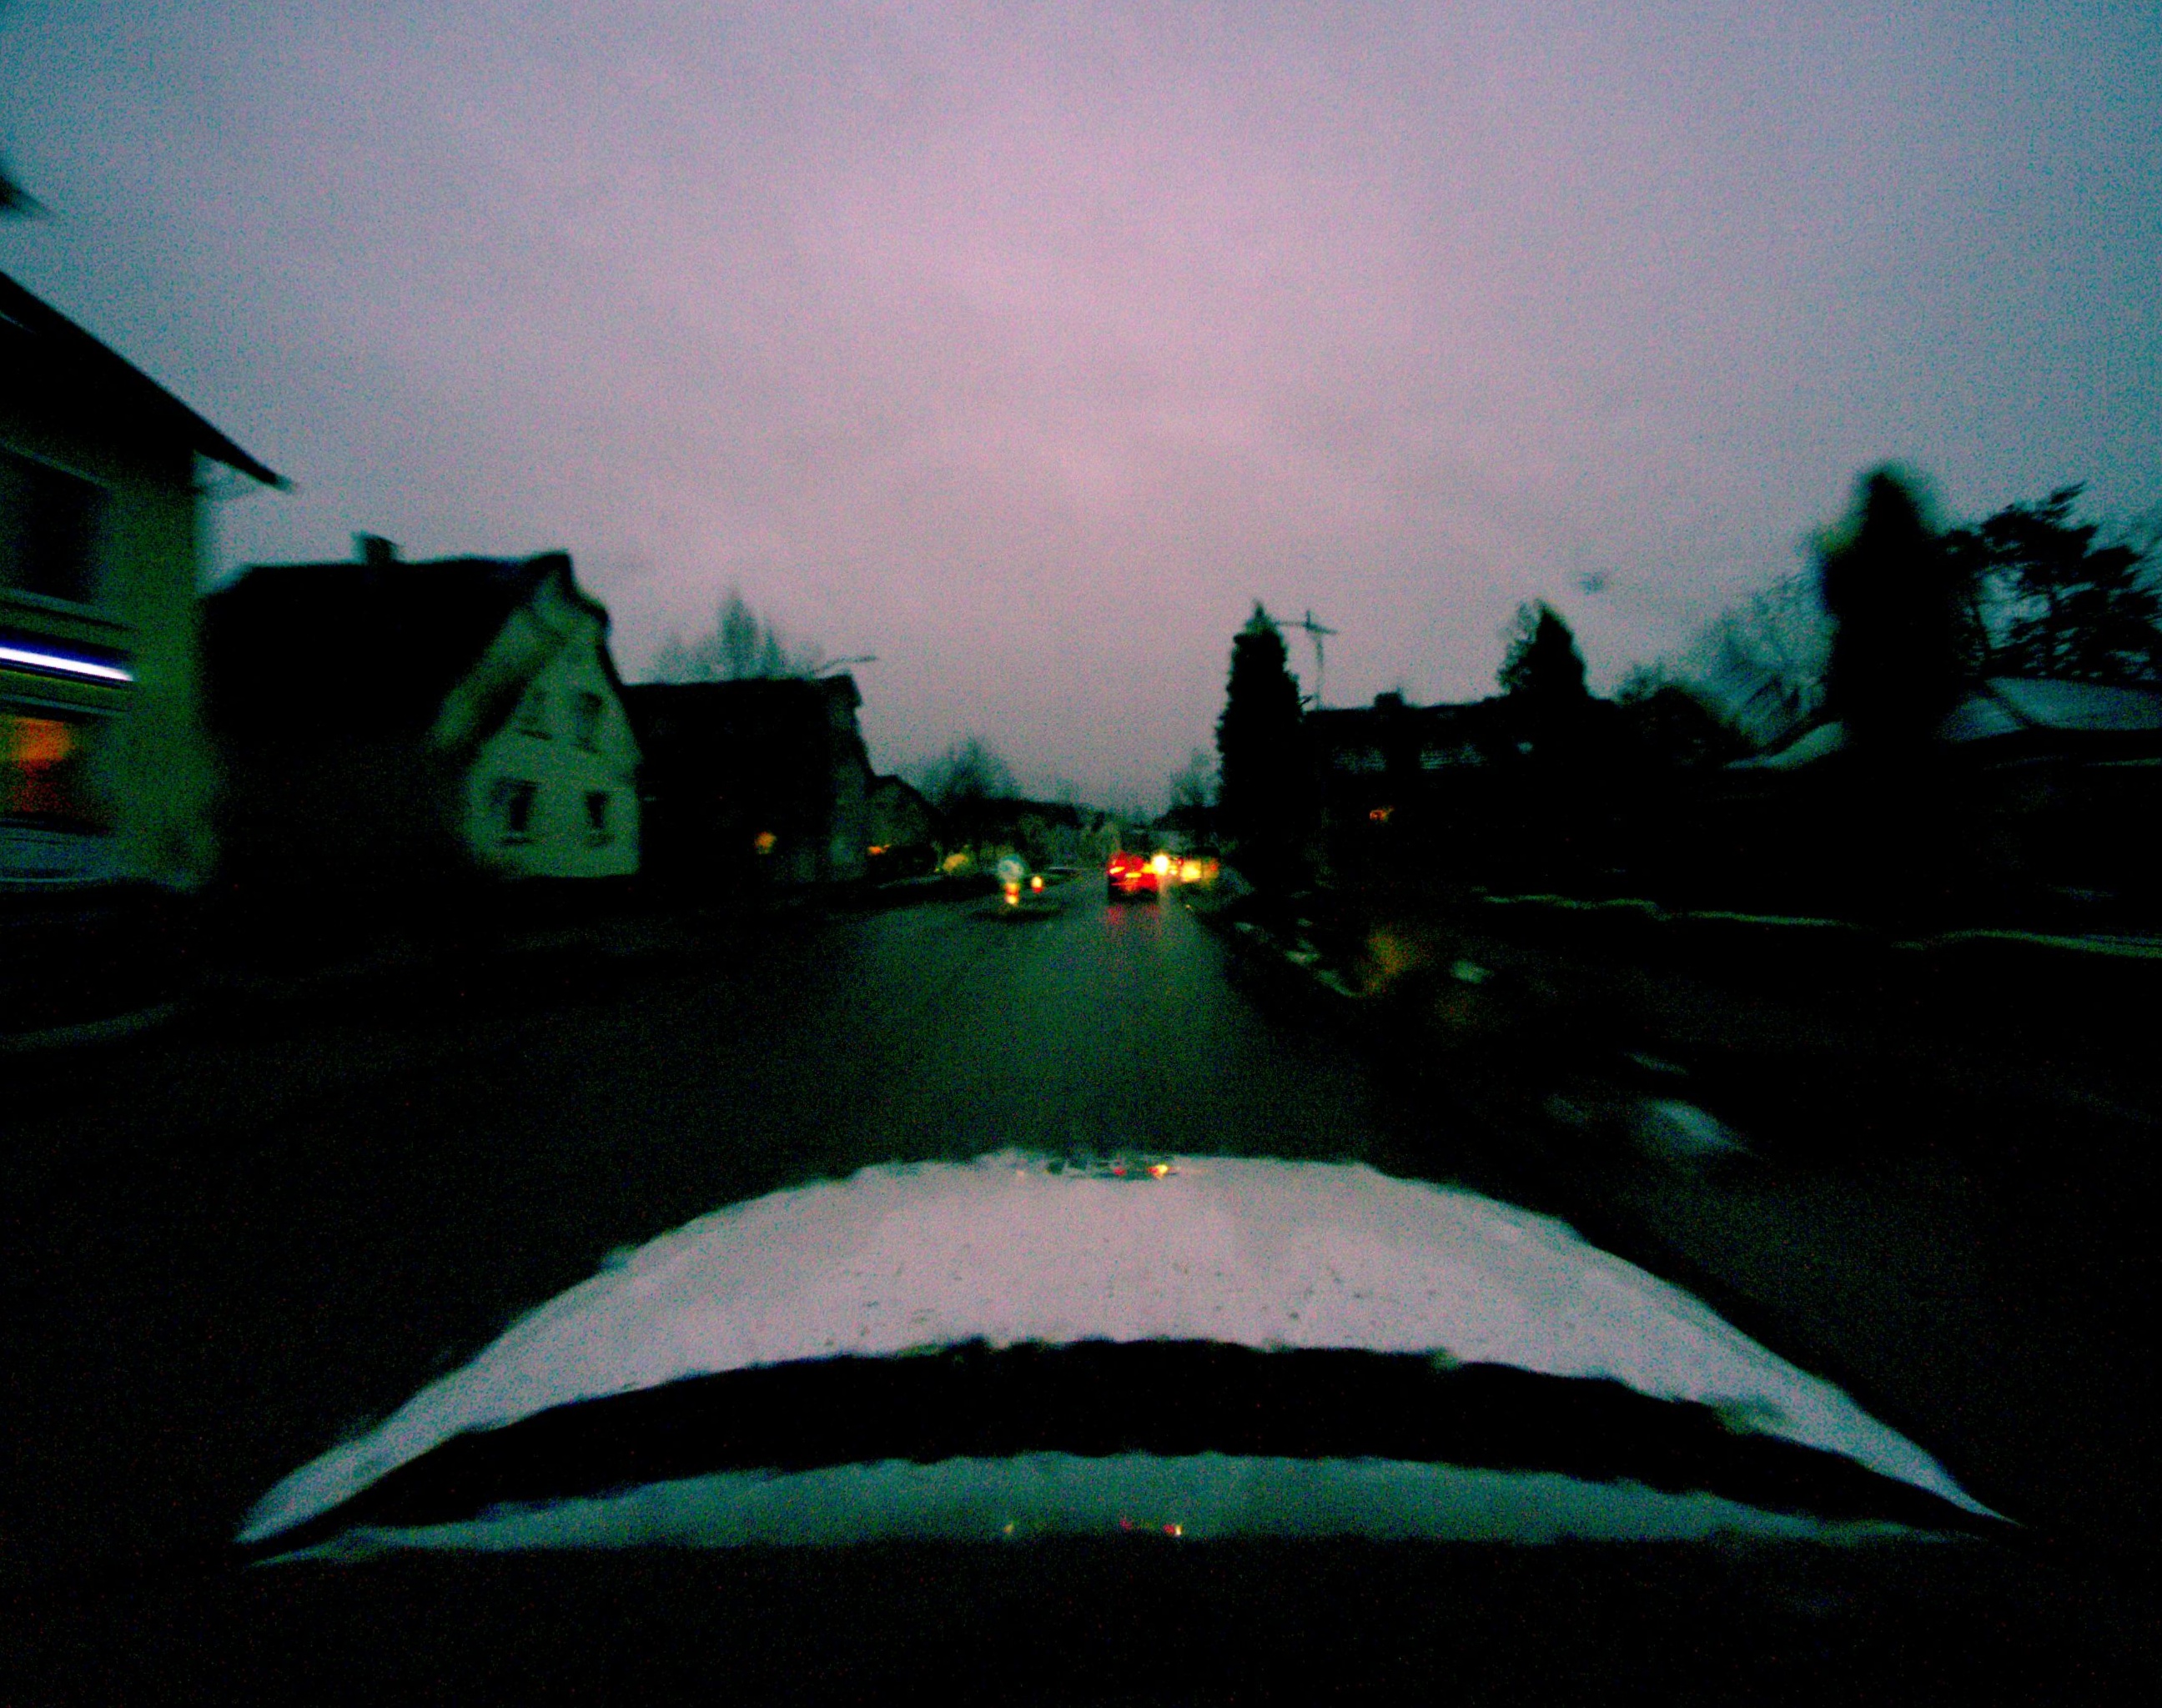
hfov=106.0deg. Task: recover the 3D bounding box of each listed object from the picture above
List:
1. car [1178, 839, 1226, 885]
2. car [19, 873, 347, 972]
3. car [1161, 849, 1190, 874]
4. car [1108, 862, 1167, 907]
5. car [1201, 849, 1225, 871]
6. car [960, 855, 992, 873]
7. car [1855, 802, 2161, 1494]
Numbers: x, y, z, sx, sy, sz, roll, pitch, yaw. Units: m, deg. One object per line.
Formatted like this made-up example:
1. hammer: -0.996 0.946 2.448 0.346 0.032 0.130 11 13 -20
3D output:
1. car: 5.917 0.379 40.561 1.968 2.013 5.754 -4 0 6
2. car: -16.734 1.230 15.350 3.974 1.600 1.922 -2 0 0
3. car: 7.971 0.652 68.697 1.980 2.014 4.013 -1 -1 12
4. car: 2.019 1.061 29.874 1.986 1.525 4.002 -1 -1 2
5. car: 12.130 0.534 74.849 1.733 1.785 4.352 -4 0 14
6. car: -11.866 1.089 92.177 1.977 2.013 4.021 0 0 21
7. car: 3.146 0.598 0.734 1.642 1.540 3.393 -5 -1 3
